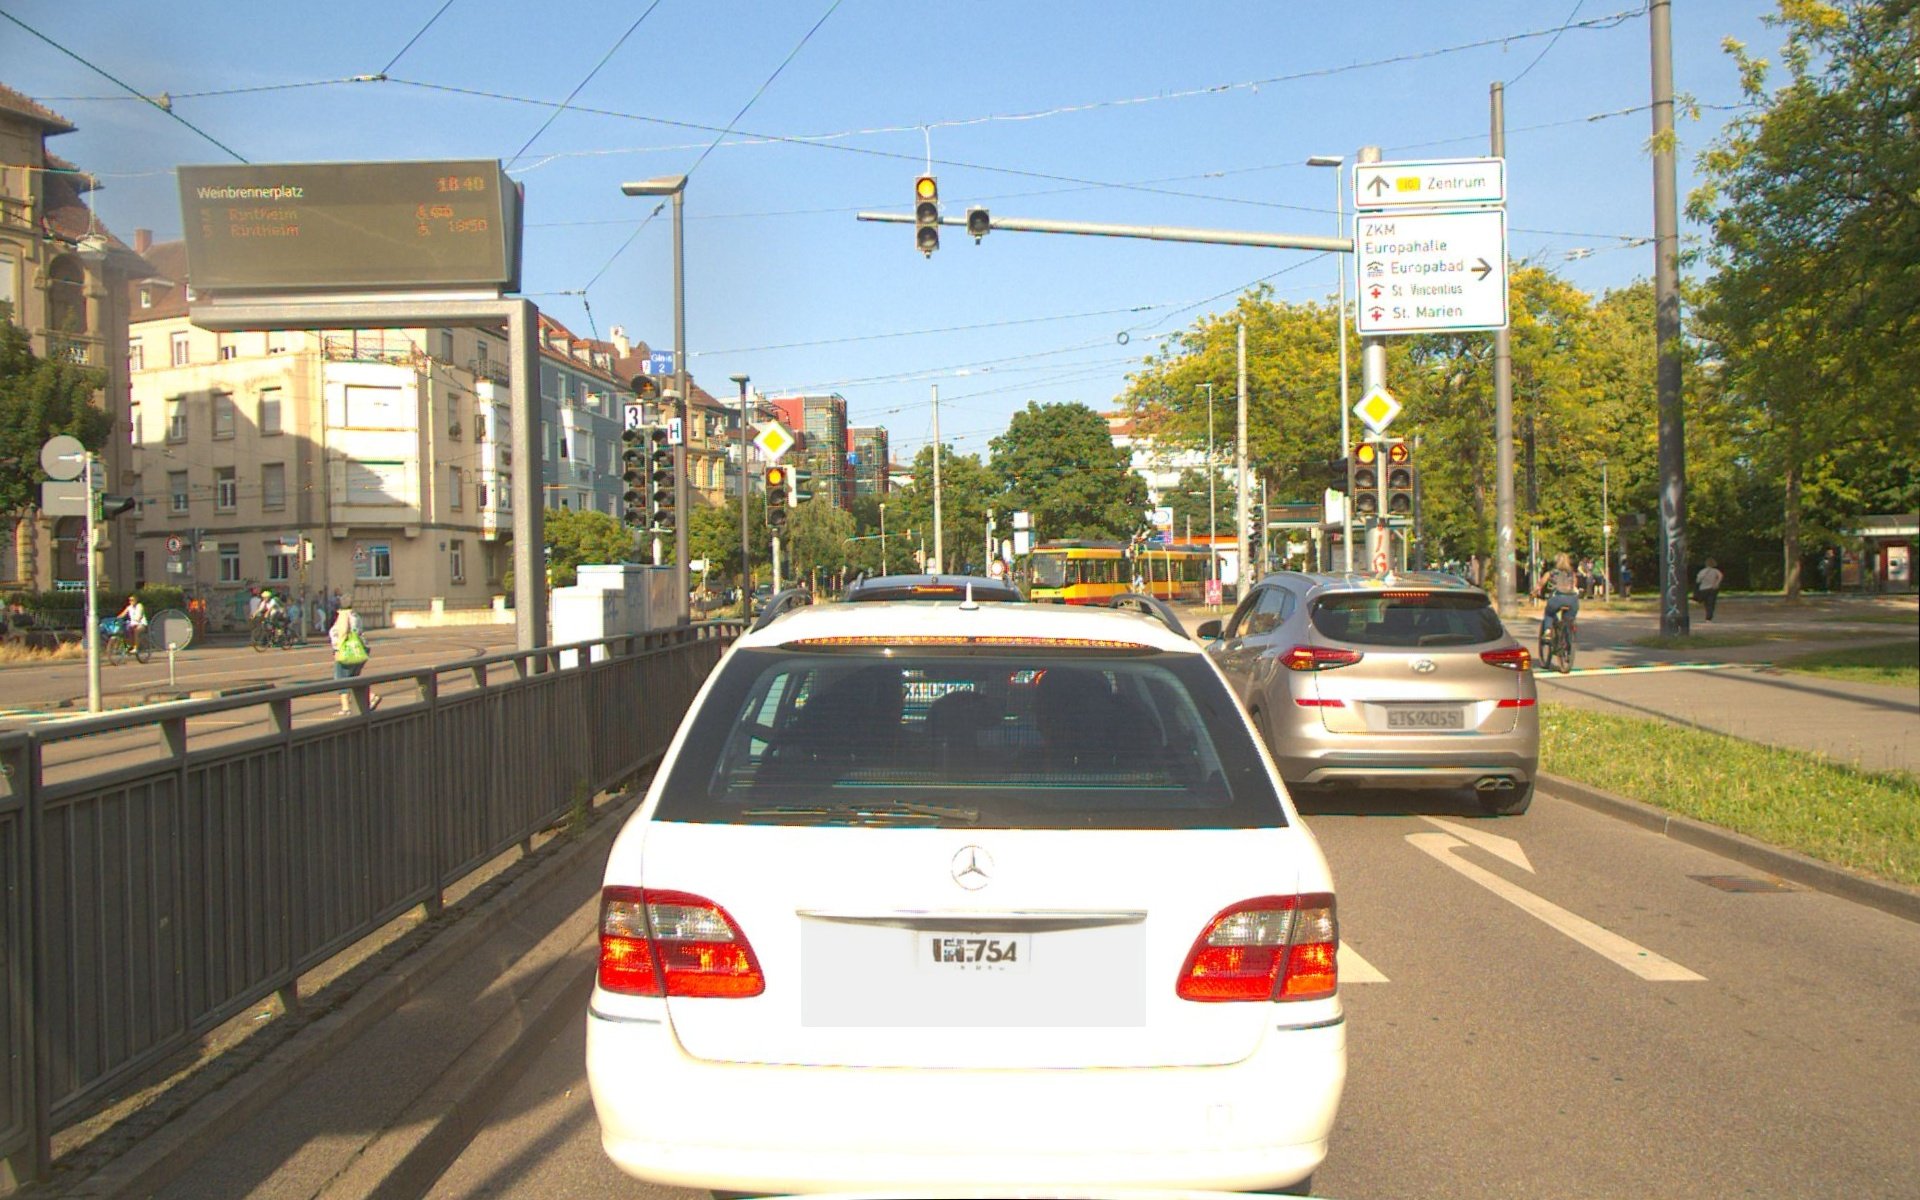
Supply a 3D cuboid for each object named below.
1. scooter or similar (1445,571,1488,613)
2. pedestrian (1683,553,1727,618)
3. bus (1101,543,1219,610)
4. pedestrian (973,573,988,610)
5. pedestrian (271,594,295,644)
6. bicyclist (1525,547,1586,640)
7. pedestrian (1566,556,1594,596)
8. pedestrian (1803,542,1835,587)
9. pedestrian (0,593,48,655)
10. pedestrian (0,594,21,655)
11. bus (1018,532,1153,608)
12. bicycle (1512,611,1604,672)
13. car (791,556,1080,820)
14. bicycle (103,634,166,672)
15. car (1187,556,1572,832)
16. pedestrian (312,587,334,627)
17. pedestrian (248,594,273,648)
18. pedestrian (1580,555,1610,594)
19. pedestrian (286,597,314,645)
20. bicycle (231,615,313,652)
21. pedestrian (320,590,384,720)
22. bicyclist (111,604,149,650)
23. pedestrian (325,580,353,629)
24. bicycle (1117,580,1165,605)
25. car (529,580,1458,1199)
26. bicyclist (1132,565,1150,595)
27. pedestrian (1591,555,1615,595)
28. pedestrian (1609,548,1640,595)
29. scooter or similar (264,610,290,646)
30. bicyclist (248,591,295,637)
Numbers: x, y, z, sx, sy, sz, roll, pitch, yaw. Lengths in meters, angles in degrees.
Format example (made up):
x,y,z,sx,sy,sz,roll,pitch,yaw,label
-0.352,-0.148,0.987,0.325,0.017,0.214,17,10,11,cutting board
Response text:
x,y,z,sx,sy,sz,roll,pitch,yaw,label
13.999,-0.206,45.749,0.413,1.136,1.322,-1,0,-20,scooter or similar
19.412,-0.368,43.095,0.748,1.665,0.797,-2,0,-40,pedestrian
12.054,-1.297,98.144,3.047,3.669,12.579,1,0,26,bus
1.071,-0.441,86.995,0.628,1.889,0.552,-1,0,11,pedestrian
-21.090,0.581,51.530,0.428,1.527,0.549,-1,0,14,pedestrian
8.484,-0.091,23.592,0.523,1.284,0.869,-1,0,-1,bicyclist
24.052,-0.921,64.139,0.809,1.513,0.690,-2,0,-42,pedestrian
32.872,-1.359,63.294,0.818,1.665,0.803,-1,0,5,pedestrian
-24.743,0.632,43.693,0.812,1.579,0.782,-1,0,21,pedestrian
-25.664,0.655,44.050,0.812,1.579,0.782,-1,0,21,pedestrian
6.796,-1.435,86.820,3.046,3.669,12.367,1,0,24,bus
8.521,0.572,23.654,0.485,0.770,2.168,-2,0,-1,bicycle
-0.178,0.555,12.526,1.846,1.680,3.647,1,0,-1,car
-19.857,1.265,39.817,0.515,0.849,1.687,-1,0,6,bicycle
2.888,0.576,12.218,1.846,1.680,3.647,-2,0,-1,car
-26.895,0.289,69.817,0.606,1.689,0.586,-1,0,14,pedestrian
-21.808,0.656,51.580,0.497,1.654,0.608,-1,0,0,pedestrian
24.859,-0.987,64.759,0.799,1.513,0.699,-1,0,-12,pedestrian
-21.999,0.683,55.117,0.616,1.568,0.711,-1,0,-1,pedestrian
-19.749,0.945,47.581,0.768,0.930,3.000,-1,0,7,bicycle
-7.818,0.698,21.279,0.601,1.627,0.632,-1,0,-7,pedestrian
-19.888,0.645,39.655,0.502,1.062,0.680,-1,0,6,bicyclist
-26.552,0.176,70.699,0.758,2.049,0.787,-1,0,14,pedestrian
9.328,-0.399,85.085,2.430,1.234,0.807,-1,0,7,bicycle
0.037,0.699,4.958,1.759,1.496,3.647,0,0,-1,car
9.319,-1.015,85.057,0.842,1.507,0.790,-1,0,8,bicyclist
24.599,-0.967,63.243,0.797,1.513,0.700,-1,0,24,pedestrian
25.878,-1.116,64.419,0.784,1.816,0.838,-1,0,-5,pedestrian
-21.588,0.881,52.282,0.532,1.098,0.683,1,0,-1,scooter or similar
-19.769,0.401,47.521,0.747,1.284,1.175,-1,0,7,bicyclist
